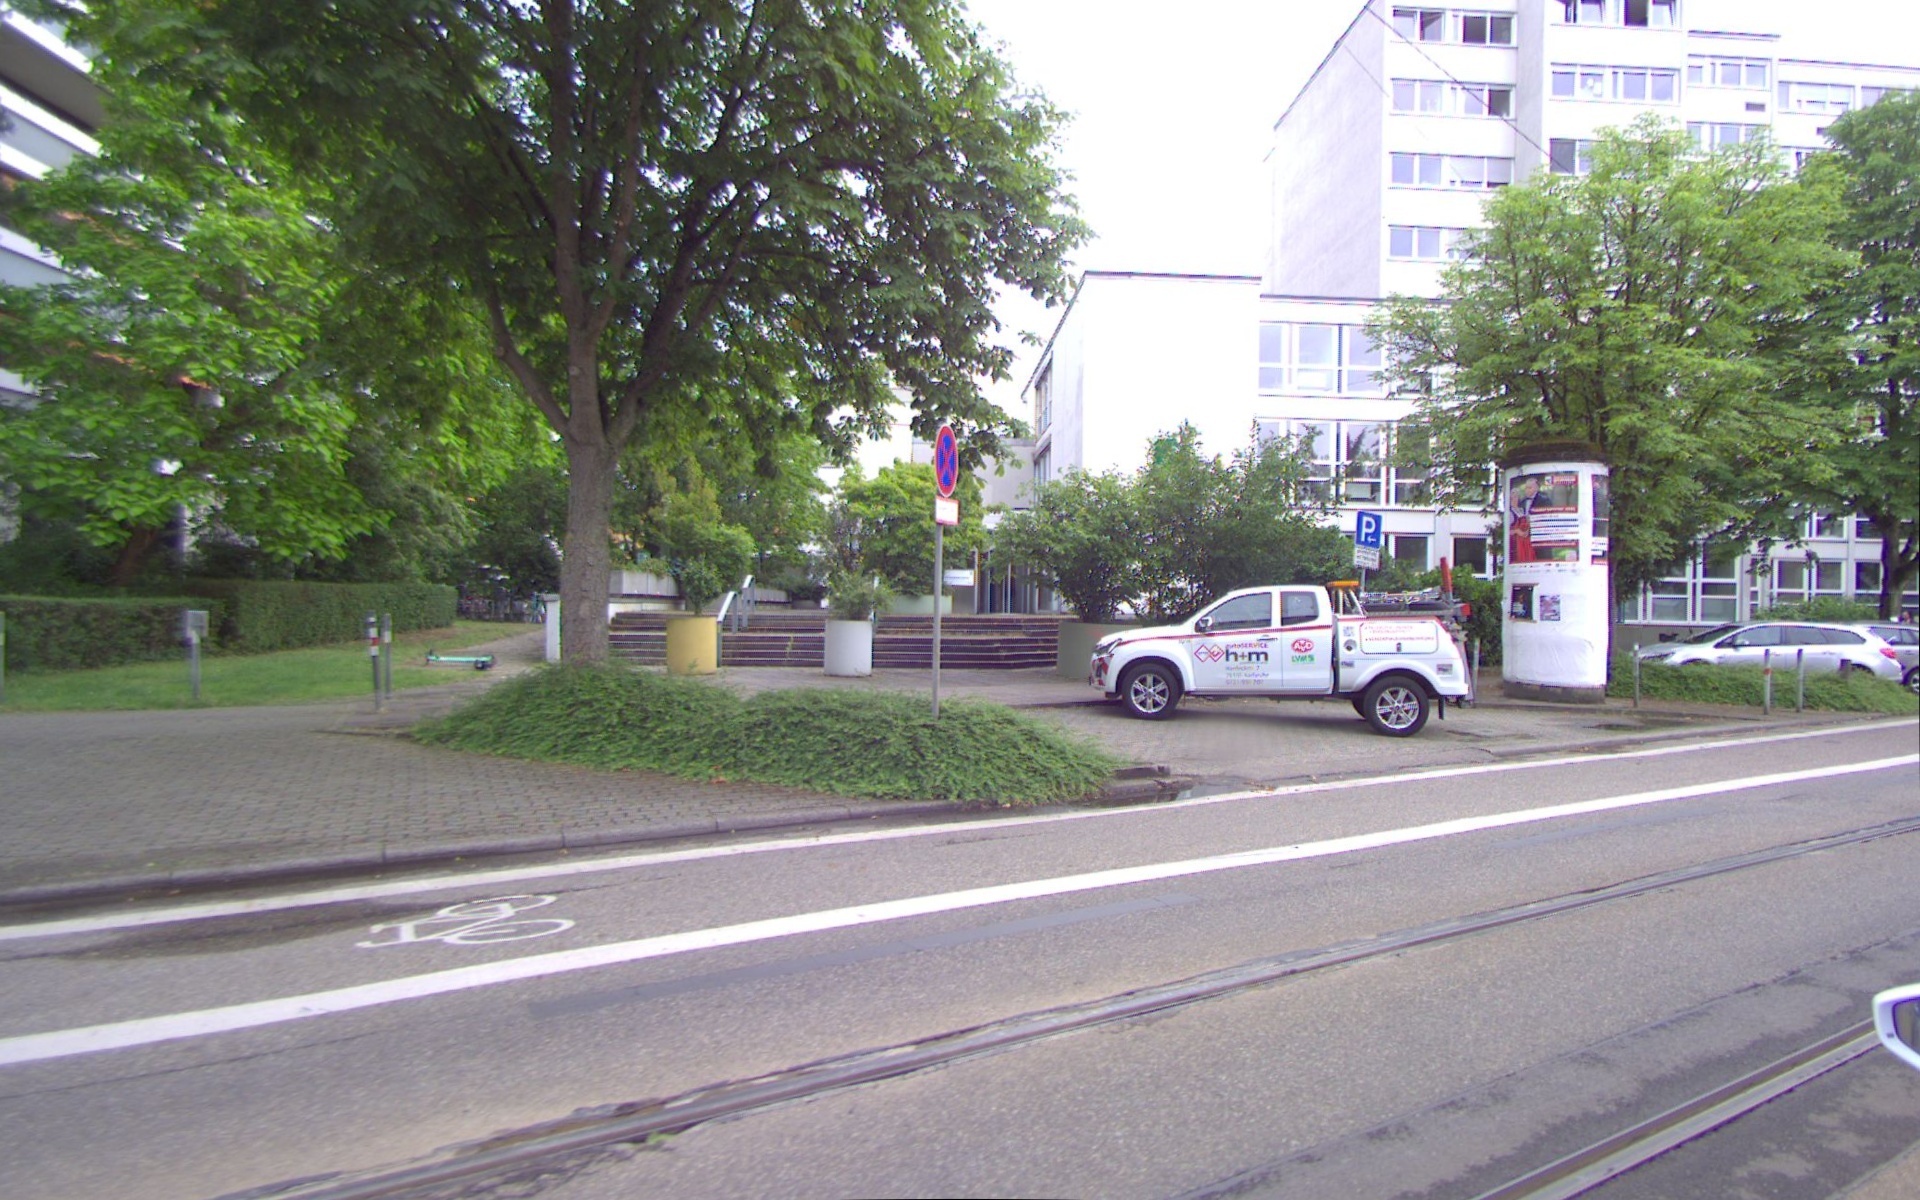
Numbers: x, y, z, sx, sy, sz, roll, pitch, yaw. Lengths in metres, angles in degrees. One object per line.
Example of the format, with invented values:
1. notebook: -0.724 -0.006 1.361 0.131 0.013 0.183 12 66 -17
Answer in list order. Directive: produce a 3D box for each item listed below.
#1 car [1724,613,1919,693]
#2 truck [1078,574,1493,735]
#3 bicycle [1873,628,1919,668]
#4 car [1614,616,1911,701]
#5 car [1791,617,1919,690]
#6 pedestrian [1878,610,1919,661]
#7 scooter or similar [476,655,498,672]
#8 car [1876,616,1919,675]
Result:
1. car: 19.164 1.133 21.921 3.578 1.544 1.573 2 1 17
2. truck: 4.252 0.642 13.687 4.962 1.873 2.001 1 0 16
3. bicycle: 31.825 1.613 33.981 1.566 1.285 0.405 2 0 -6
4. car: 16.131 1.136 20.426 4.342 1.484 1.805 2 0 11
5. car: 21.889 1.245 23.276 3.631 1.544 1.700 2 1 17
6. pedestrian: 31.727 1.189 33.897 0.720 1.633 0.754 3 1 -6
7. scooter or similar: -8.558 1.148 18.185 0.292 0.174 1.214 3 1 -22
8. car: 27.385 1.263 27.019 3.631 1.544 1.700 2 1 17
